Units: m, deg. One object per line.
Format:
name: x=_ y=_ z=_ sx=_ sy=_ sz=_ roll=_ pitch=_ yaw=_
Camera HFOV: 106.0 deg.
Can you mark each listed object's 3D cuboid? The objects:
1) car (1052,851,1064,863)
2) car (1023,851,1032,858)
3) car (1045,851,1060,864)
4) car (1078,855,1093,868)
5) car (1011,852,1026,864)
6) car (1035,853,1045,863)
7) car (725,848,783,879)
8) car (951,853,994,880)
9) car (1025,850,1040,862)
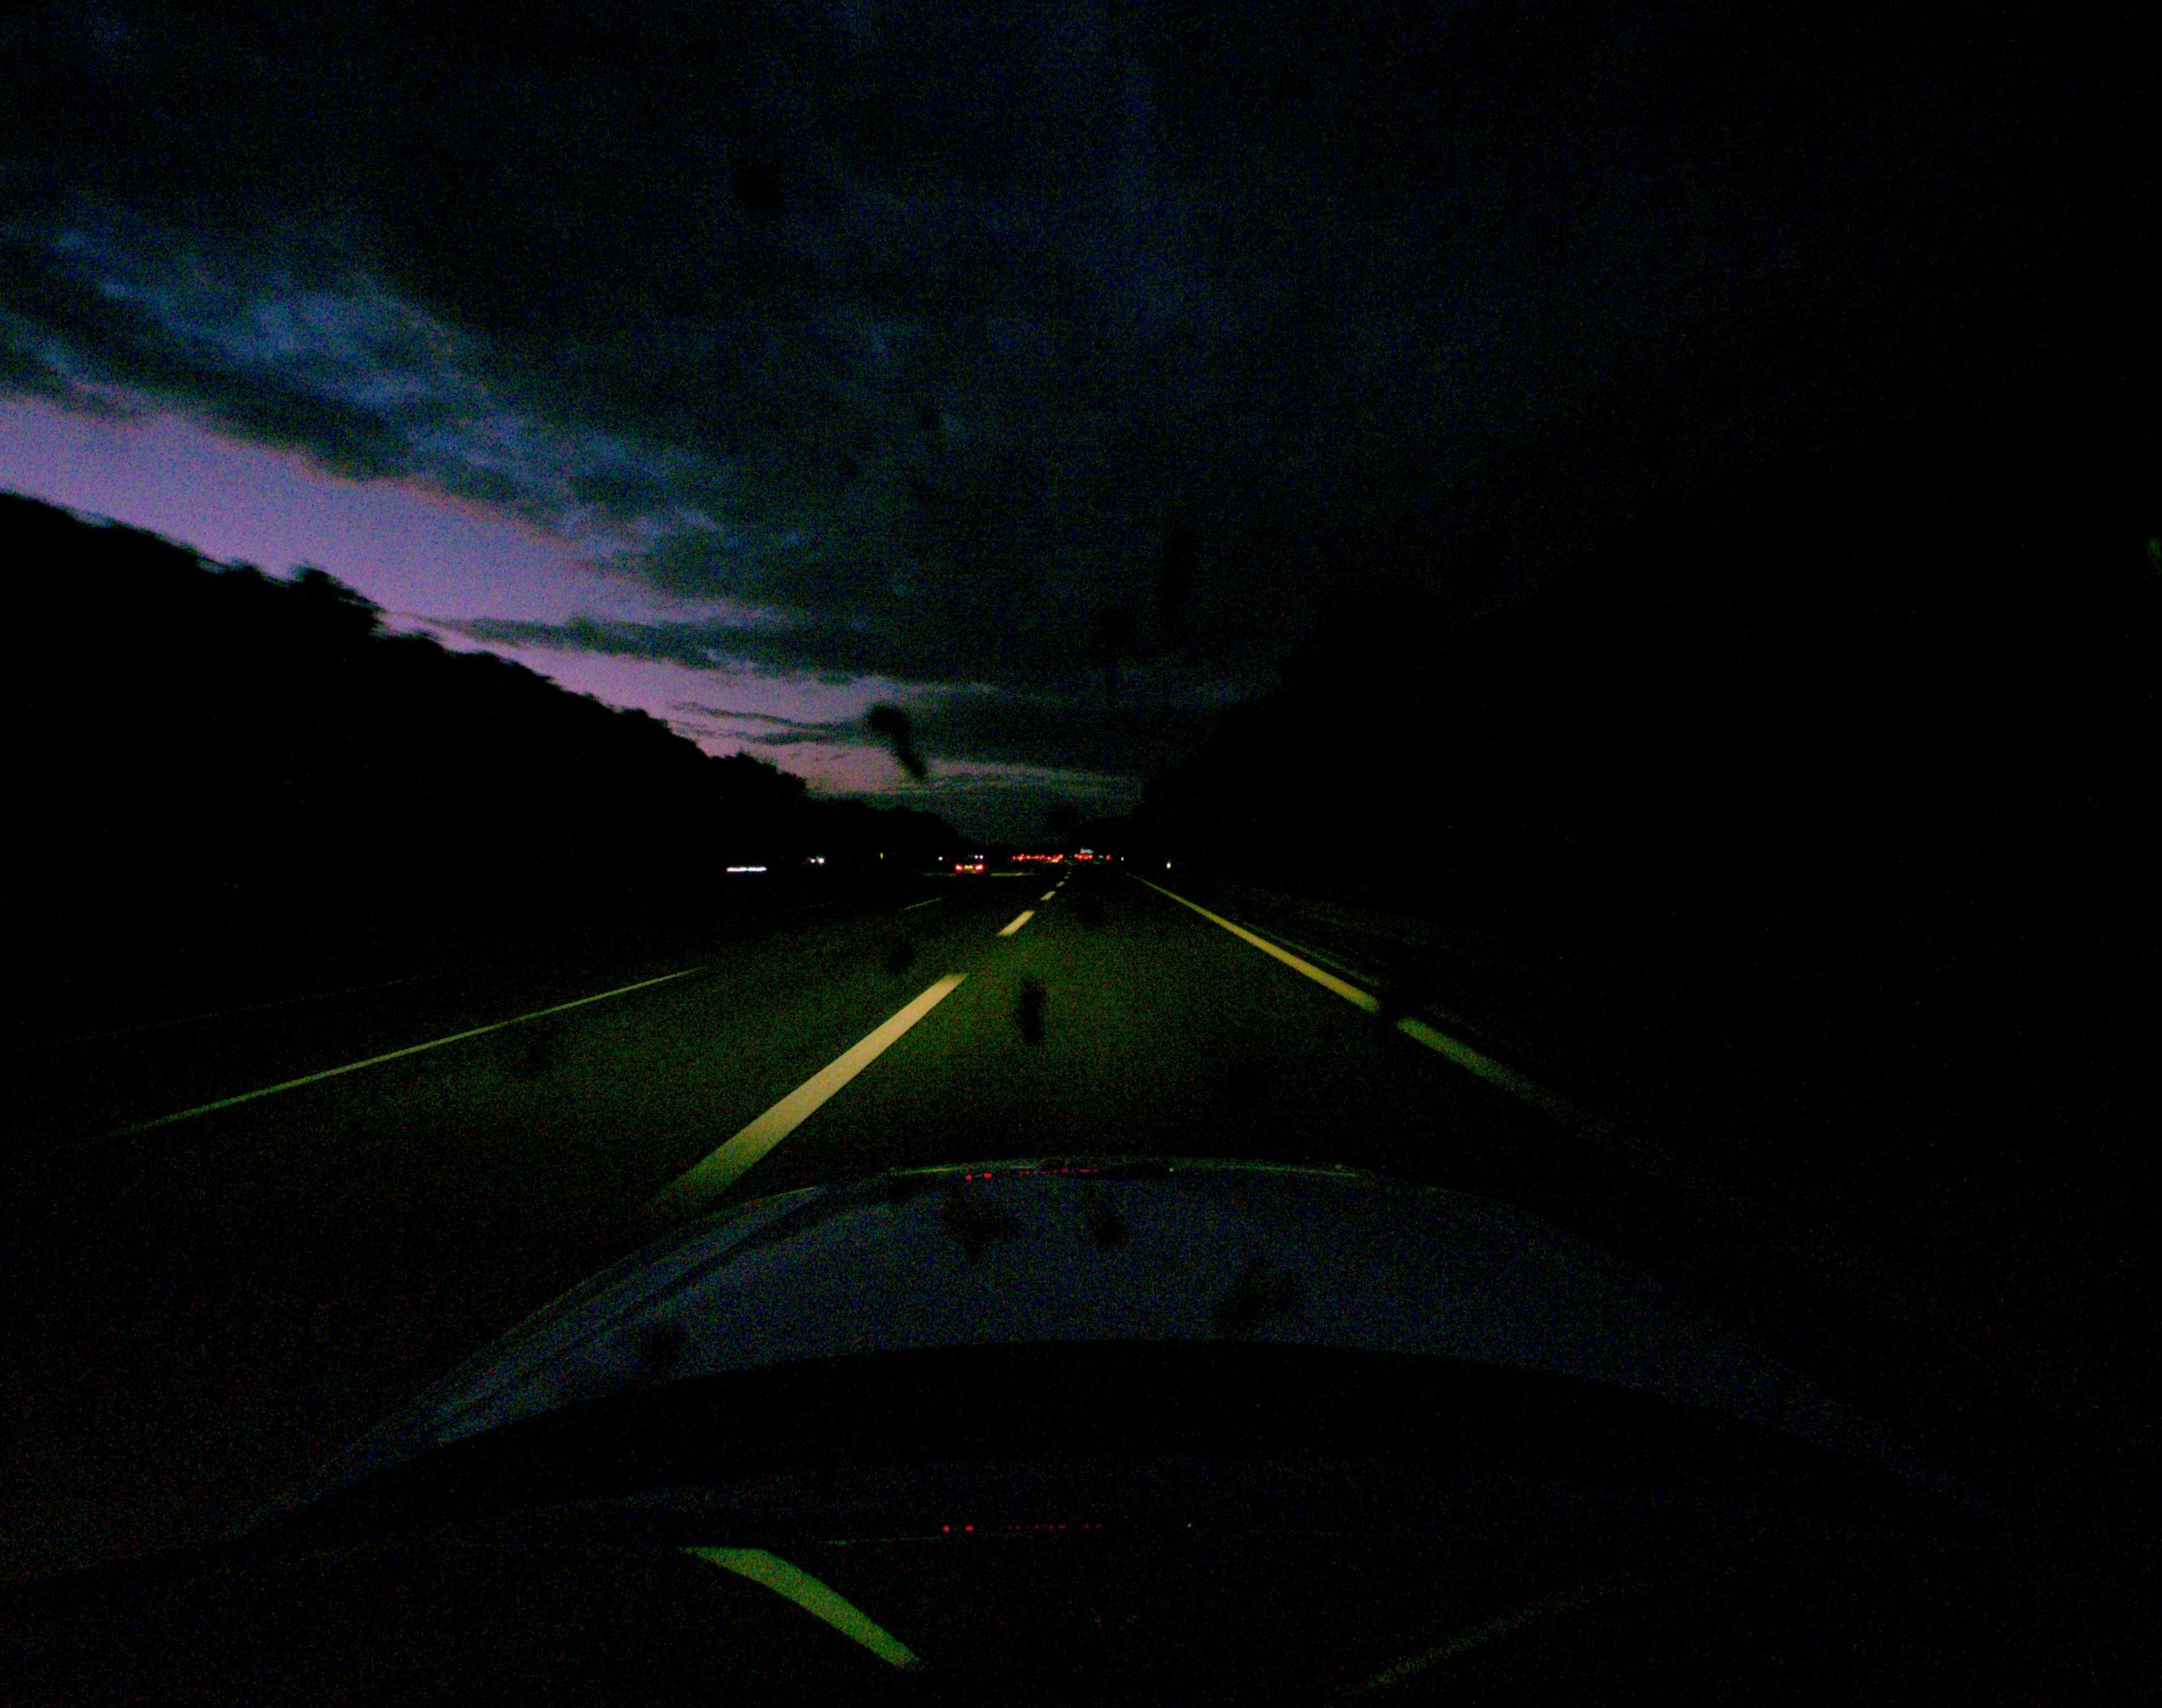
car: x=-4.210 y=0.565 z=148.809 sx=1.987 sy=2.013 sz=4.000 roll=-1 pitch=0 yaw=0
car: x=-14.806 y=0.104 z=225.915 sx=1.985 sy=2.013 sz=4.004 roll=3 pitch=0 yaw=3
car: x=-4.185 y=0.505 z=120.321 sx=1.987 sy=2.013 sz=3.999 roll=0 pitch=0 yaw=-1
car: x=0.581 y=0.971 z=106.296 sx=1.987 sy=1.659 sz=4.313 roll=-1 pitch=0 yaw=0
car: x=-11.239 y=0.700 z=146.284 sx=2.096 sy=2.013 sz=4.004 roll=-1 pitch=0 yaw=3
car: x=-8.806 y=0.819 z=174.785 sx=1.990 sy=2.014 sz=3.994 roll=0 pitch=0 yaw=-4
car: x=-22.219 y=0.654 z=55.587 sx=1.986 sy=2.014 sz=4.497 roll=0 pitch=0 yaw=2
car: x=-7.010 y=0.796 z=53.065 sx=1.985 sy=1.642 sz=4.558 roll=-1 pitch=0 yaw=3
car: x=-7.890 y=0.337 z=132.921 sx=2.064 sy=2.013 sz=4.000 roll=-1 pitch=0 yaw=0
